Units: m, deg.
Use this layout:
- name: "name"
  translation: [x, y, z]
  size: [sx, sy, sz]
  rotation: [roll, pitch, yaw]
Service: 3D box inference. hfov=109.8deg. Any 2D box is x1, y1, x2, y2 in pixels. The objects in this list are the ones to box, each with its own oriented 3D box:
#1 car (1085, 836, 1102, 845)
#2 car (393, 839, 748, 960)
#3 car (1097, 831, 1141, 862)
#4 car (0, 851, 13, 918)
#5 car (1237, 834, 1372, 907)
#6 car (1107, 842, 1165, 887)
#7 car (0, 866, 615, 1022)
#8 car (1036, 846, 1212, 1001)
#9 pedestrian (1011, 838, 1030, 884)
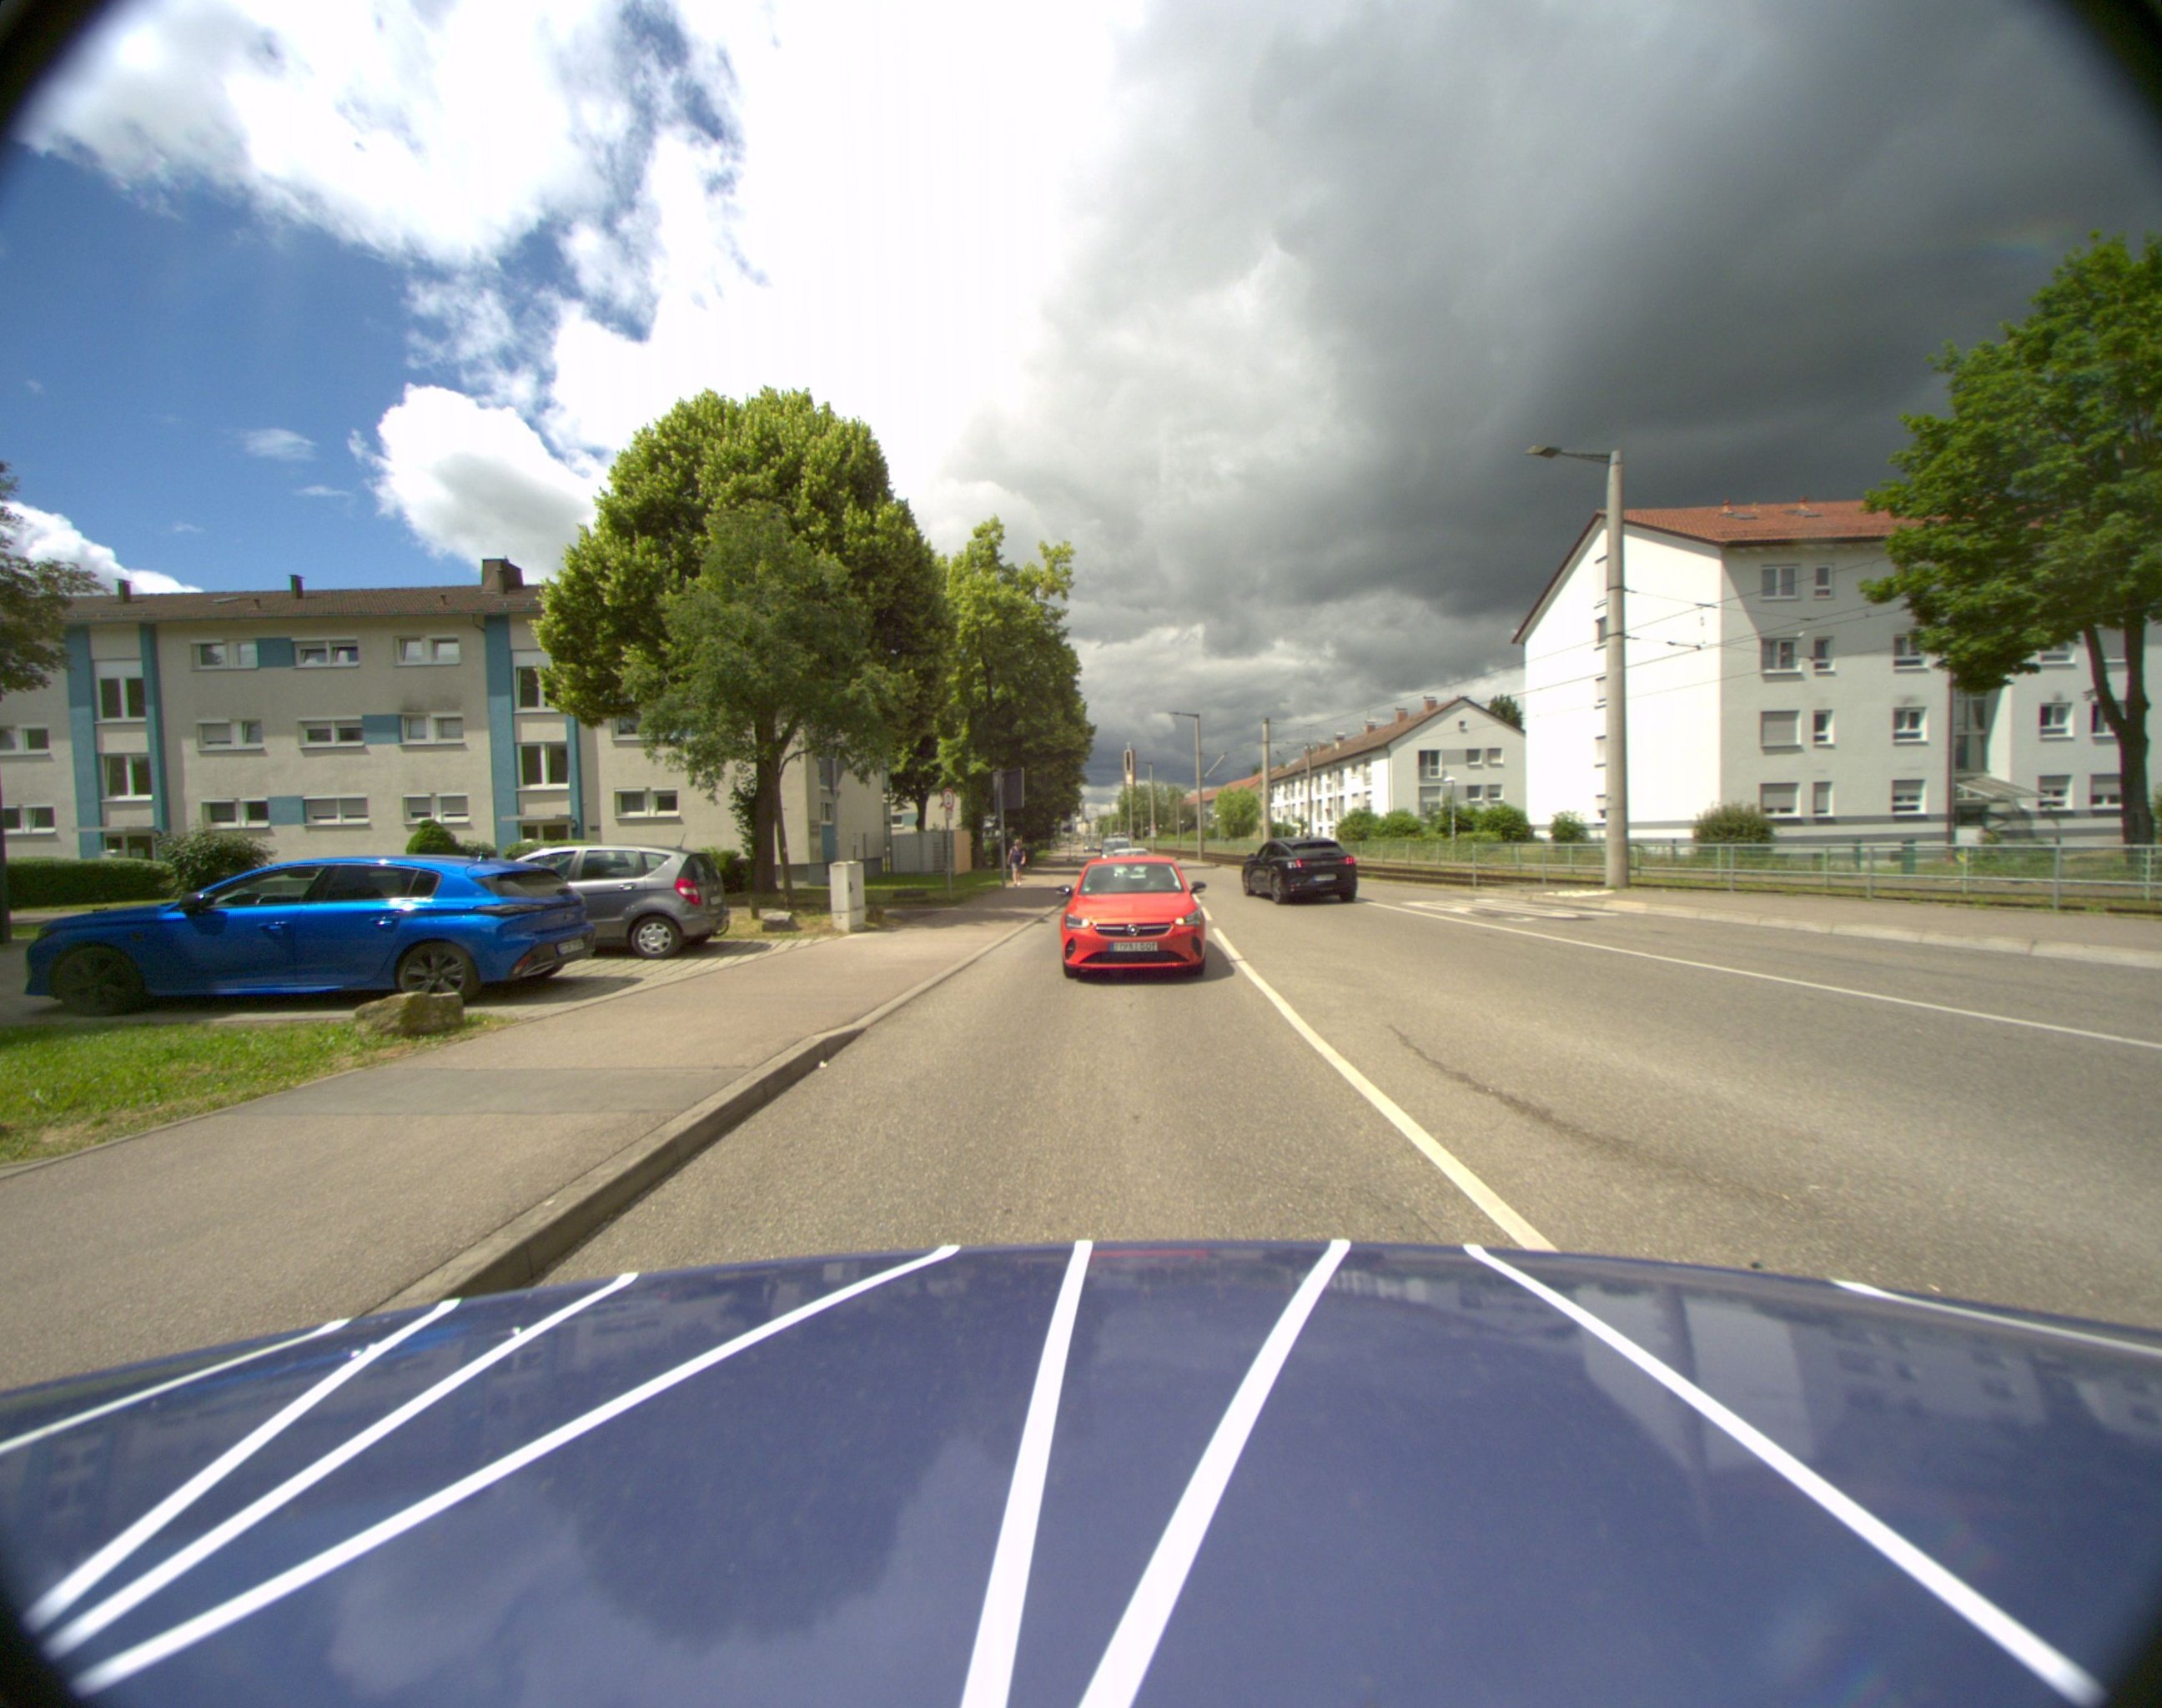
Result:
- name: "car"
  translation: [1.800, -1.905, 106.682]
  size: [1.917, 1.309, 4.001]
  rotation: [0, 2, 8]
- name: "car"
  translation: [-7.118, 0.602, 11.029]
  size: [3.741, 1.548, 2.030]
  rotation: [1, 1, -8]
- name: "car"
  translation: [2.022, -0.450, 41.359]
  size: [1.999, 1.598, 3.998]
  rotation: [-1, 2, -2]
- name: "car"
  translation: [-26.346, 0.792, 16.546]
  size: [3.877, 1.494, 1.731]
  rotation: [-3, 2, 4]
- name: "car"
  translation: [5.497, 0.313, 19.328]
  size: [1.999, 1.517, 4.522]
  rotation: [-1, 2, -2]
- name: "car"
  translation: [1.853, 0.297, 26.690]
  size: [1.763, 1.390, 3.999]
  rotation: [-1, 2, 1]
- name: "car"
  translation: [-7.609, 0.825, 7.687]
  size: [4.498, 1.236, 1.998]
  rotation: [1, 1, -9]
- name: "car"
  translation: [0.706, 0.745, 9.876]
  size: [1.765, 1.548, 4.003]
  rotation: [-3, -1, 8]
- name: "pedestrian"
  translation: [-2.203, 0.240, 27.610]
  size: [0.684, 1.651, 0.831]
  rotation: [-1, 2, -6]
